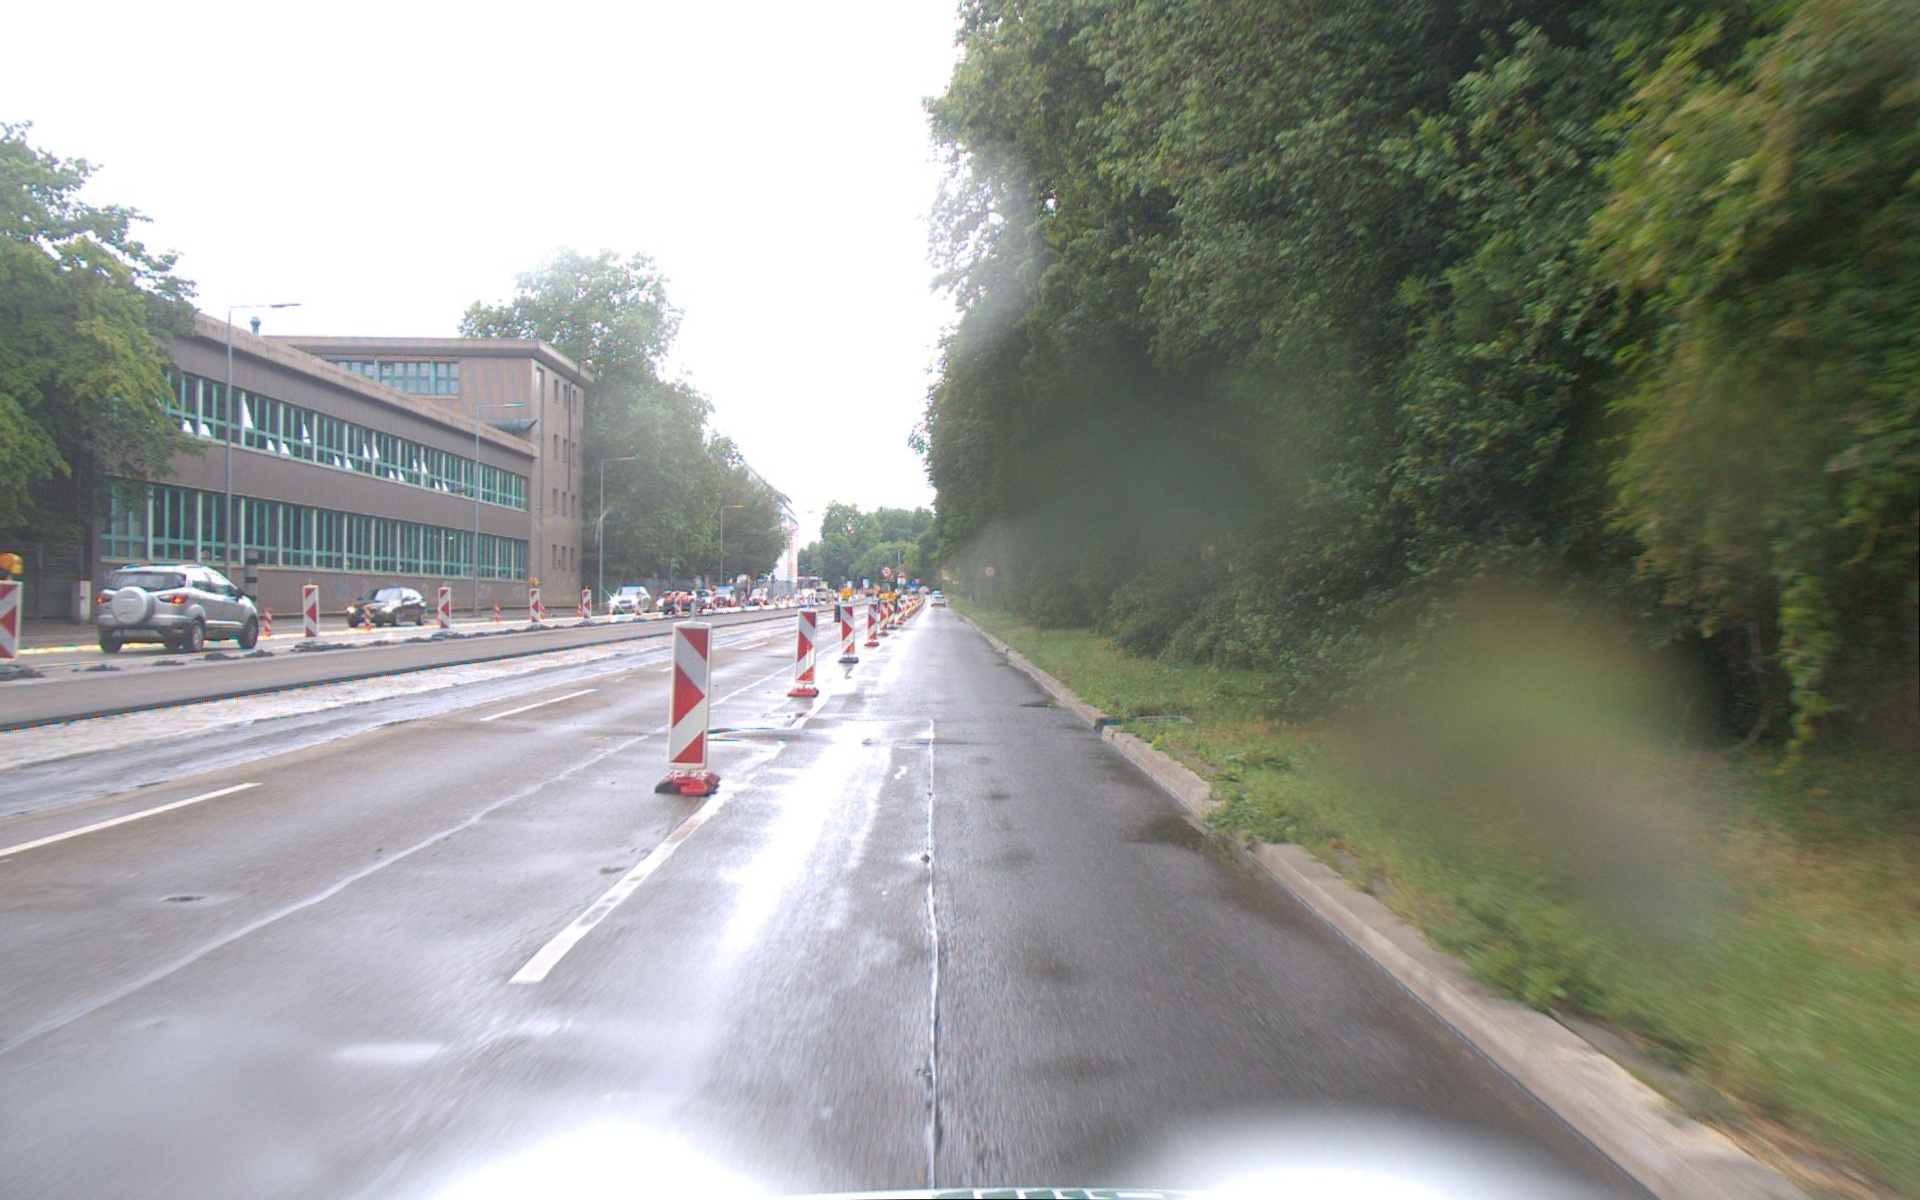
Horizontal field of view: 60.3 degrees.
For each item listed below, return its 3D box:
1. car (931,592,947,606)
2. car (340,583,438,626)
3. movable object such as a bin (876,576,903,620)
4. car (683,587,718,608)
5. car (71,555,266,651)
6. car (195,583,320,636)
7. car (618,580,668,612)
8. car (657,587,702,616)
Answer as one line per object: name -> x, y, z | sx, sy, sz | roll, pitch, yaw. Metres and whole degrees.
car -> -2.551, -0.106, 204.492 | 1.953, 1.702, 3.999 | 2, 0, -1
car -> -21.204, 0.179, 61.634 | 2.005, 1.479, 4.763 | 2, 0, -1
movable object such as a bin -> -5.652, -0.183, 133.313 | 1.953, 3.426, 5.981 | 1, 0, -1
car -> -20.048, -0.177, 127.871 | 1.855, 1.528, 4.516 | 2, 0, 1
car -> -14.997, 0.059, 31.587 | 1.817, 1.677, 3.999 | 2, 0, -1
car -> -20.490, 0.245, 48.446 | 1.953, 1.454, 4.263 | 1, 0, -2
car -> -18.726, -0.223, 97.956 | 1.948, 1.799, 4.674 | 2, 0, 0
car -> -16.204, 0.090, 95.592 | 1.953, 1.545, 3.999 | 2, 0, -1
